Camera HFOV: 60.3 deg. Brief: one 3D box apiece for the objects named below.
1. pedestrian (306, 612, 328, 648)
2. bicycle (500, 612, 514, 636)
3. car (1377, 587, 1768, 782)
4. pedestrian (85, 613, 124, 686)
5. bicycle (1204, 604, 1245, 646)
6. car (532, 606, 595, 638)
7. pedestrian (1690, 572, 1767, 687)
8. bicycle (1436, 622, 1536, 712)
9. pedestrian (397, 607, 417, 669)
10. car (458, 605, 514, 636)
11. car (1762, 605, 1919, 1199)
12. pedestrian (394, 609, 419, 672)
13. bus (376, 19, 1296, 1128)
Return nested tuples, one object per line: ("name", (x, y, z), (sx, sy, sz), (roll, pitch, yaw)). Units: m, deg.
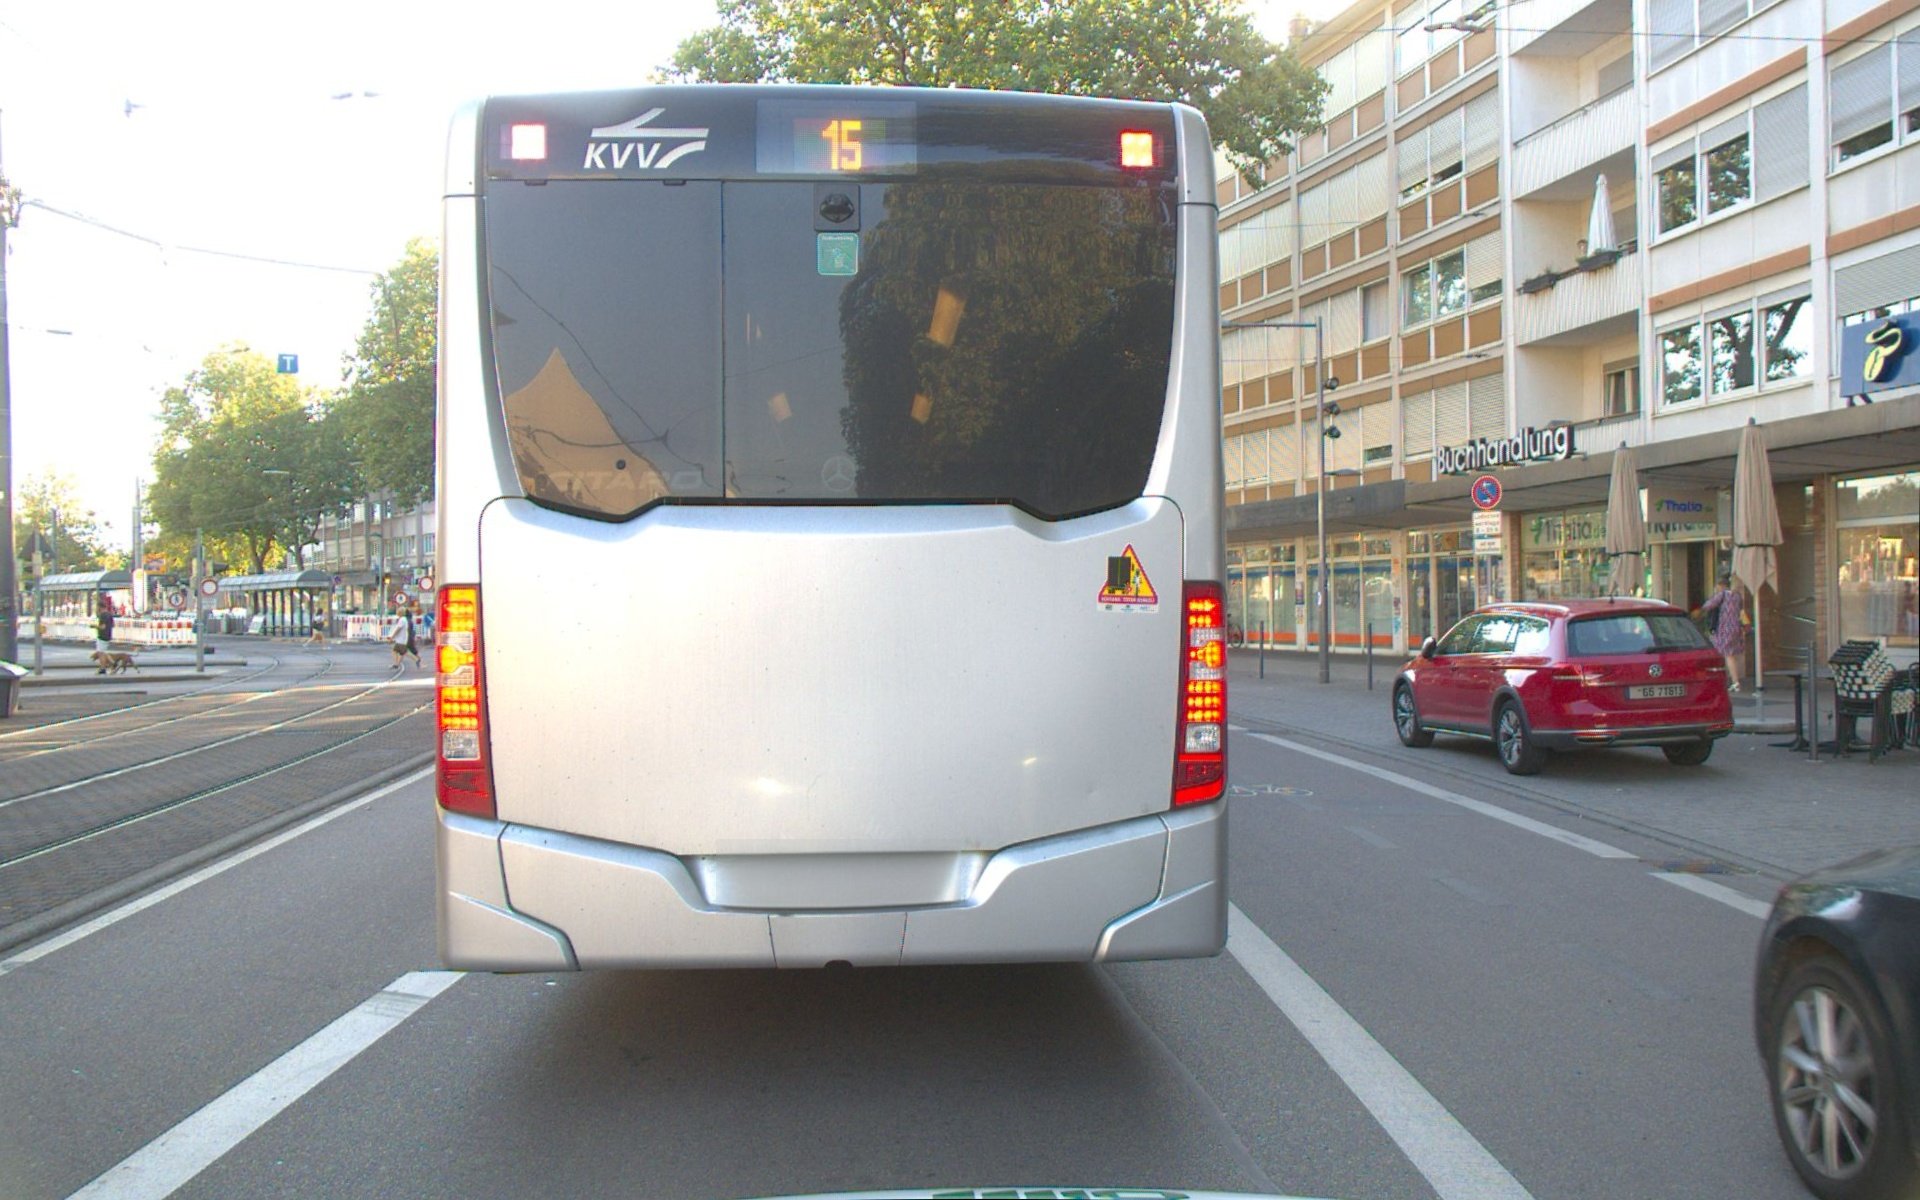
("pedestrian", (-24.382, 1.142, 62.713), (0.766, 1.326, 0.590), (-1, 0, -22))
("bicycle", (-23.165, 1.213, 84.570), (0.500, 1.232, 2.079), (-1, 0, -21))
("car", (5.686, 0.702, 16.059), (1.744, 1.522, 4.563), (-3, 0, -5))
("pedestrian", (-20.524, 1.179, 39.692), (0.422, 1.740, 0.675), (1, -1, 31))
("bicycle", (7.276, 0.689, 45.551), (0.431, 1.111, 1.453), (-3, 1, -20))
("car", (-19.333, 1.072, 80.670), (1.652, 1.419, 3.364), (-5, 3, -39))
("pedestrian", (10.826, 0.407, 23.330), (0.627, 1.579, 0.806), (-1, 0, -8))
("bicycle", (6.883, 0.853, 21.723), (0.502, 1.089, 1.657), (-3, 0, -10))
("pedestrian", (-13.868, 0.957, 41.487), (0.403, 1.530, 0.513), (-1, 0, -24))
("car", (-25.108, 1.096, 87.640), (1.651, 1.494, 3.365), (-5, 3, -38))
("car", (3.136, 0.777, 2.580), (1.767, 1.499, 4.071), (1, 0, 0))
("pedestrian", (-13.680, 0.995, 40.881), (0.513, 1.530, 0.589), (-1, 0, -23))
("bus", (-0.567, -0.066, 9.871), (2.605, 3.153, 10.210), (-1, 0, -3))
